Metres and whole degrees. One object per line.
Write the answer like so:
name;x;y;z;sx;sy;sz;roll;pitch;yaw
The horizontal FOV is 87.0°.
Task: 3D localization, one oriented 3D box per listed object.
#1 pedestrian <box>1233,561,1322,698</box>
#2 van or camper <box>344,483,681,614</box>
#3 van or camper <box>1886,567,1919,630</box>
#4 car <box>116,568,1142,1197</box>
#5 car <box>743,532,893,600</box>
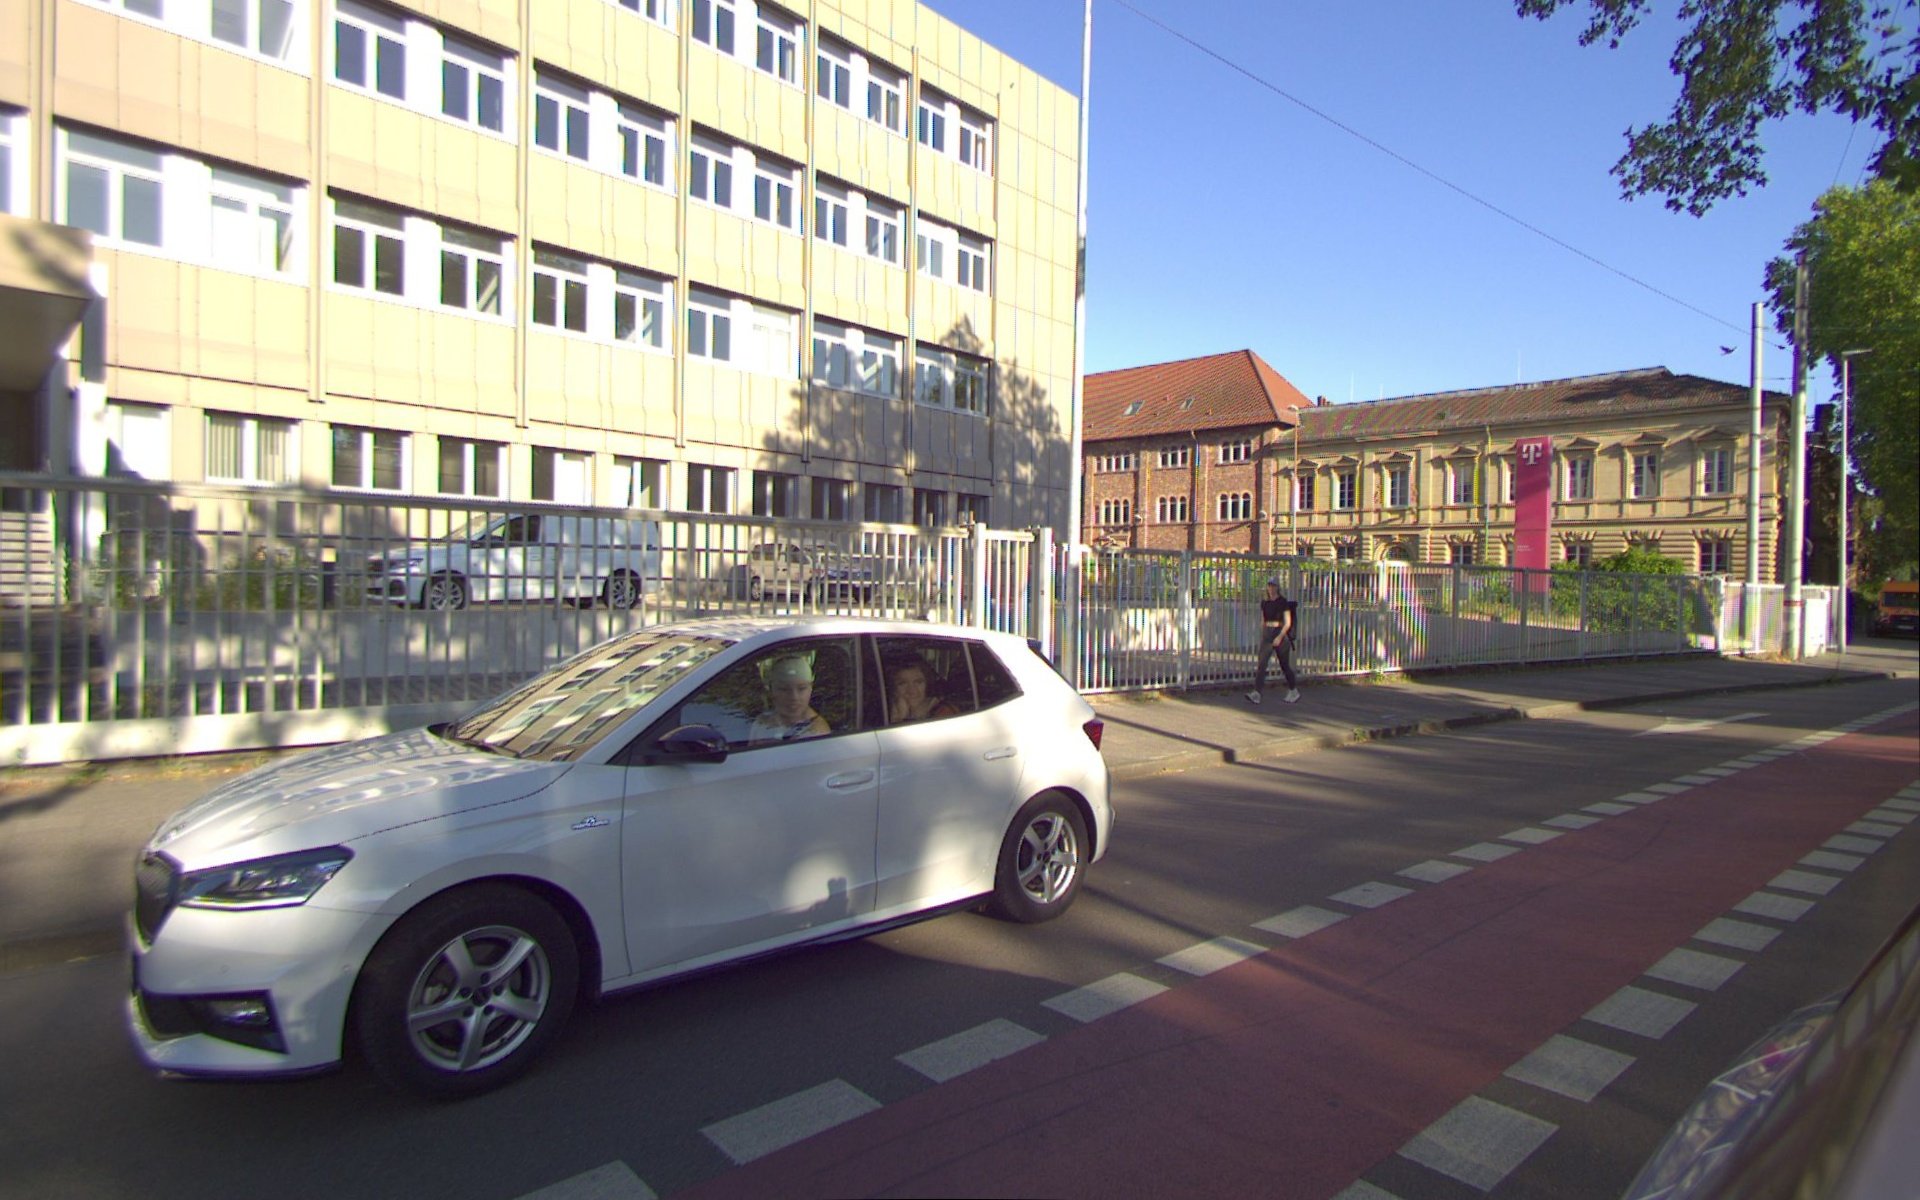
pedestrian;4.138;0.360;13.184;0.914;1.705;0.697;0;1;-39
van or camper;-7.505;-0.796;17.375;1.981;1.932;4.921;3;2;43
van or camper;41.311;-0.067;43.371;5.677;2.591;2.037;0;1;-44
car;-1.123;0.668;4.449;3.913;1.520;1.804;0;1;-43
car;-4.018;-0.942;28.231;4.253;1.739;1.962;2;2;44
